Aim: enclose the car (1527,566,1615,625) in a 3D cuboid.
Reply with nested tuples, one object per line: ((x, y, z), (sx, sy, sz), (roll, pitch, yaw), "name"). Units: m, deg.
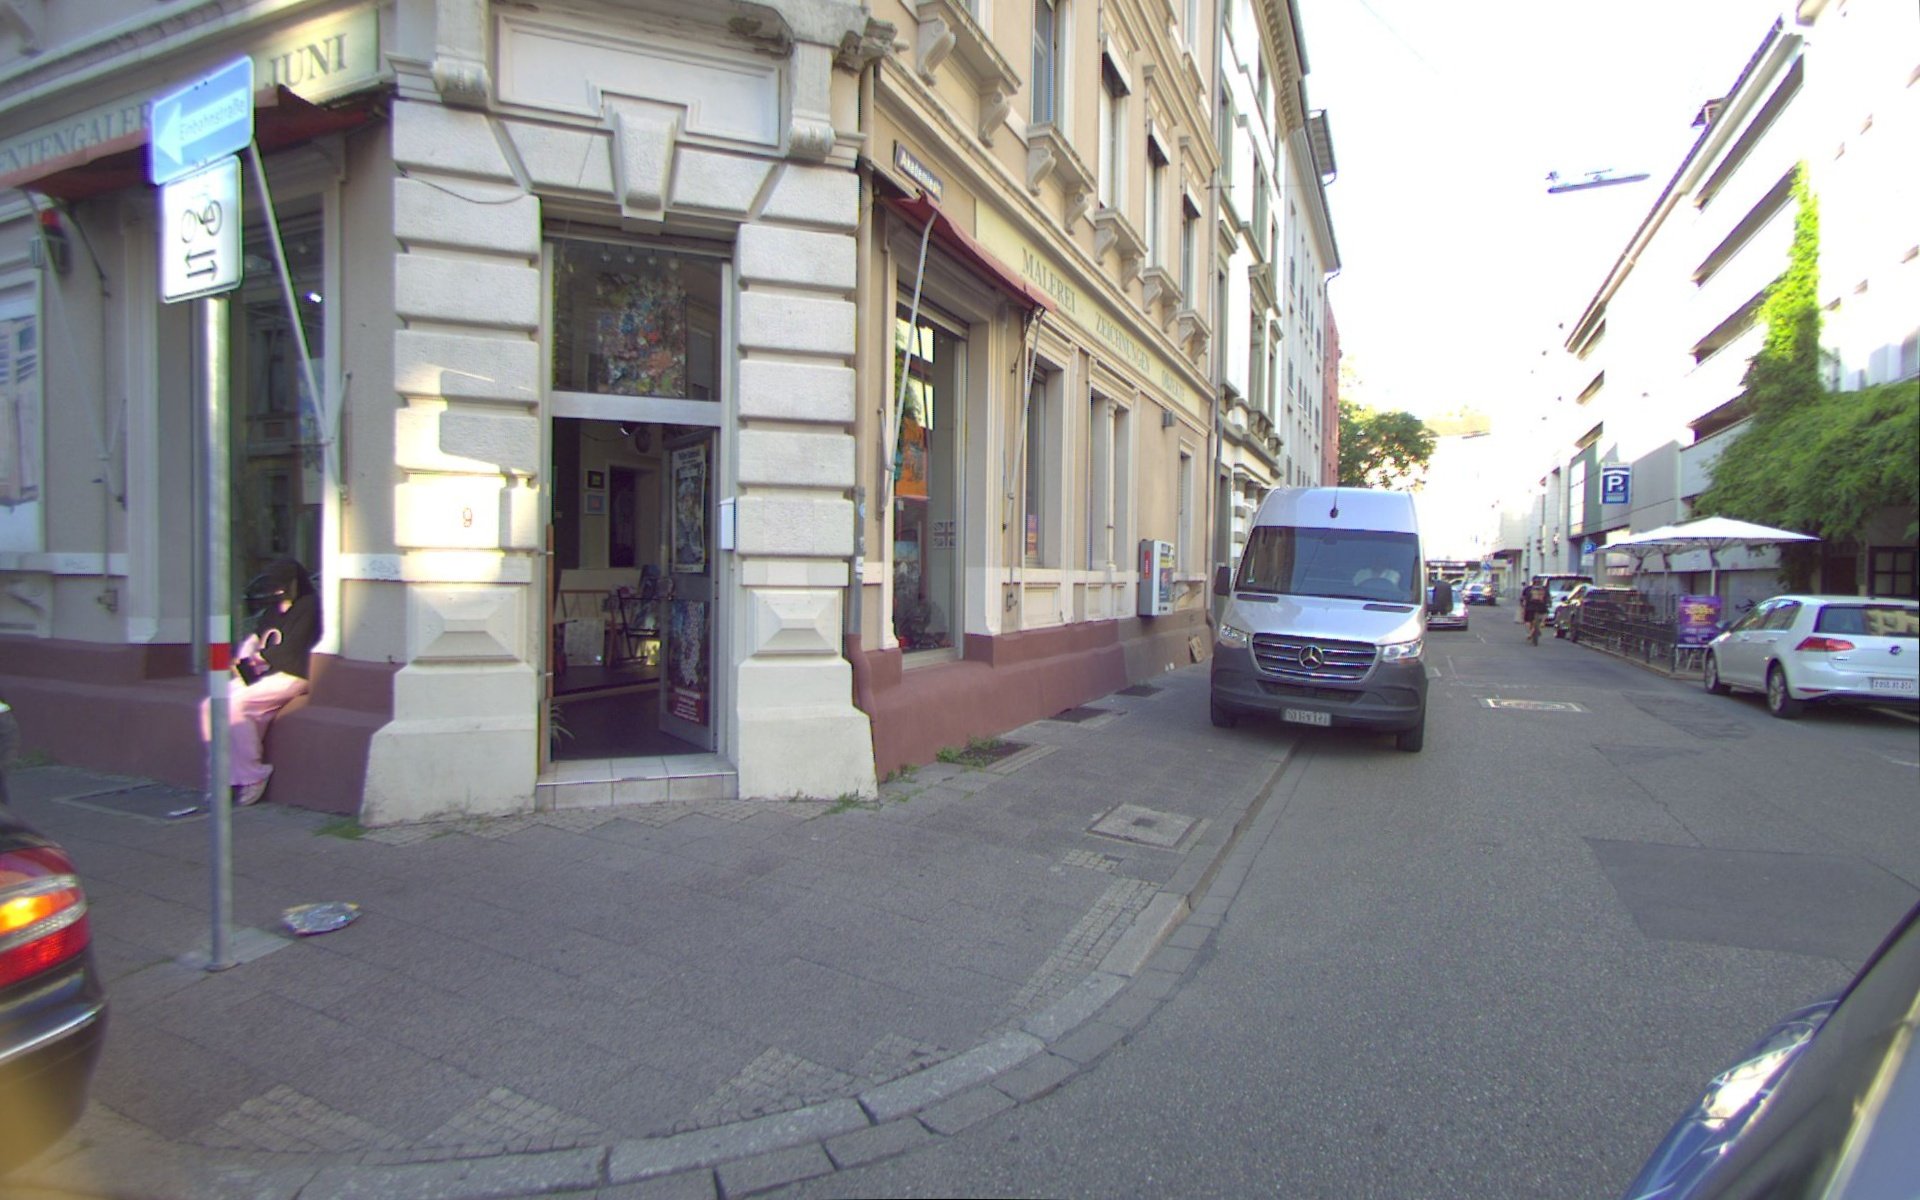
((22.726, -0.238, 37.820), (1.978, 1.963, 4.814), (4, 3, 22), "car")

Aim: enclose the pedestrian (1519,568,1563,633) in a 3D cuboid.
((14.457, -0.015, 25.219), (0.823, 1.564, 1.073), (2, 2, 25), "pedestrian")

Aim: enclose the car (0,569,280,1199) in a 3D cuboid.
((-4.089, 0.612, 2.687), (4.686, 1.425, 1.872), (2, 2, 29), "car")

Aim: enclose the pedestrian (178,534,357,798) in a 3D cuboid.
((-4.186, 0.357, 6.144), (0.574, 1.490, 0.711), (1, 1, 25), "pedestrian")

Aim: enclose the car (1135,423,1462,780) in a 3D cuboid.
((3.741, -0.088, 10.264), (2.261, 2.469, 6.149), (2, 2, 26), "car")

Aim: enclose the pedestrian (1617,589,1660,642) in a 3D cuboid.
((15.603, 0.341, 23.280), (0.727, 1.180, 0.554), (0, 2, -33), "pedestrian")

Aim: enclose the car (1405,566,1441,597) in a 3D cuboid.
((31.187, -1.272, 68.107), (1.982, 2.038, 3.961), (2, 2, 28), "car")

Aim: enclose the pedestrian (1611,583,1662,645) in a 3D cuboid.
((15.008, 0.298, 22.479), (0.775, 1.303, 0.908), (2, 2, 25), "pedestrian")

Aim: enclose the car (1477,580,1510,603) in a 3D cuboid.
((38.106, -0.634, 72.355), (1.982, 1.434, 4.516), (4, 4, 27), "car")

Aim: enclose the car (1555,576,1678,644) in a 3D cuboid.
((17.827, 0.187, 27.725), (1.866, 1.587, 4.735), (4, 3, 22), "car")

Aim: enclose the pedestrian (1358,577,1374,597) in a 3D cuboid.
((26.685, -0.886, 66.559), (0.918, 1.264, 0.360), (3, 2, 23), "pedestrian")

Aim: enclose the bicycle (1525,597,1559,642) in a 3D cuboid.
((14.447, 0.468, 25.134), (0.534, 1.020, 1.964), (2, 2, 25), "bicycle")

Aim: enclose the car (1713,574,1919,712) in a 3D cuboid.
((10.960, 0.422, 12.616), (1.645, 1.431, 3.852), (2, 2, 24), "car")

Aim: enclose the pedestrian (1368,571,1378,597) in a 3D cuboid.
((27.162, -1.040, 66.551), (0.435, 1.666, 0.551), (4, 2, 32), "pedestrian")

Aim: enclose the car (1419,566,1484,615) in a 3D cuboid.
((16.447, -0.355, 34.031), (1.770, 1.543, 3.969), (0, 1, 23), "car")

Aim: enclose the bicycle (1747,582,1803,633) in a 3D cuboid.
((19.676, 0.161, 24.475), (0.638, 1.174, 1.778), (1, 1, 25), "bicycle")
